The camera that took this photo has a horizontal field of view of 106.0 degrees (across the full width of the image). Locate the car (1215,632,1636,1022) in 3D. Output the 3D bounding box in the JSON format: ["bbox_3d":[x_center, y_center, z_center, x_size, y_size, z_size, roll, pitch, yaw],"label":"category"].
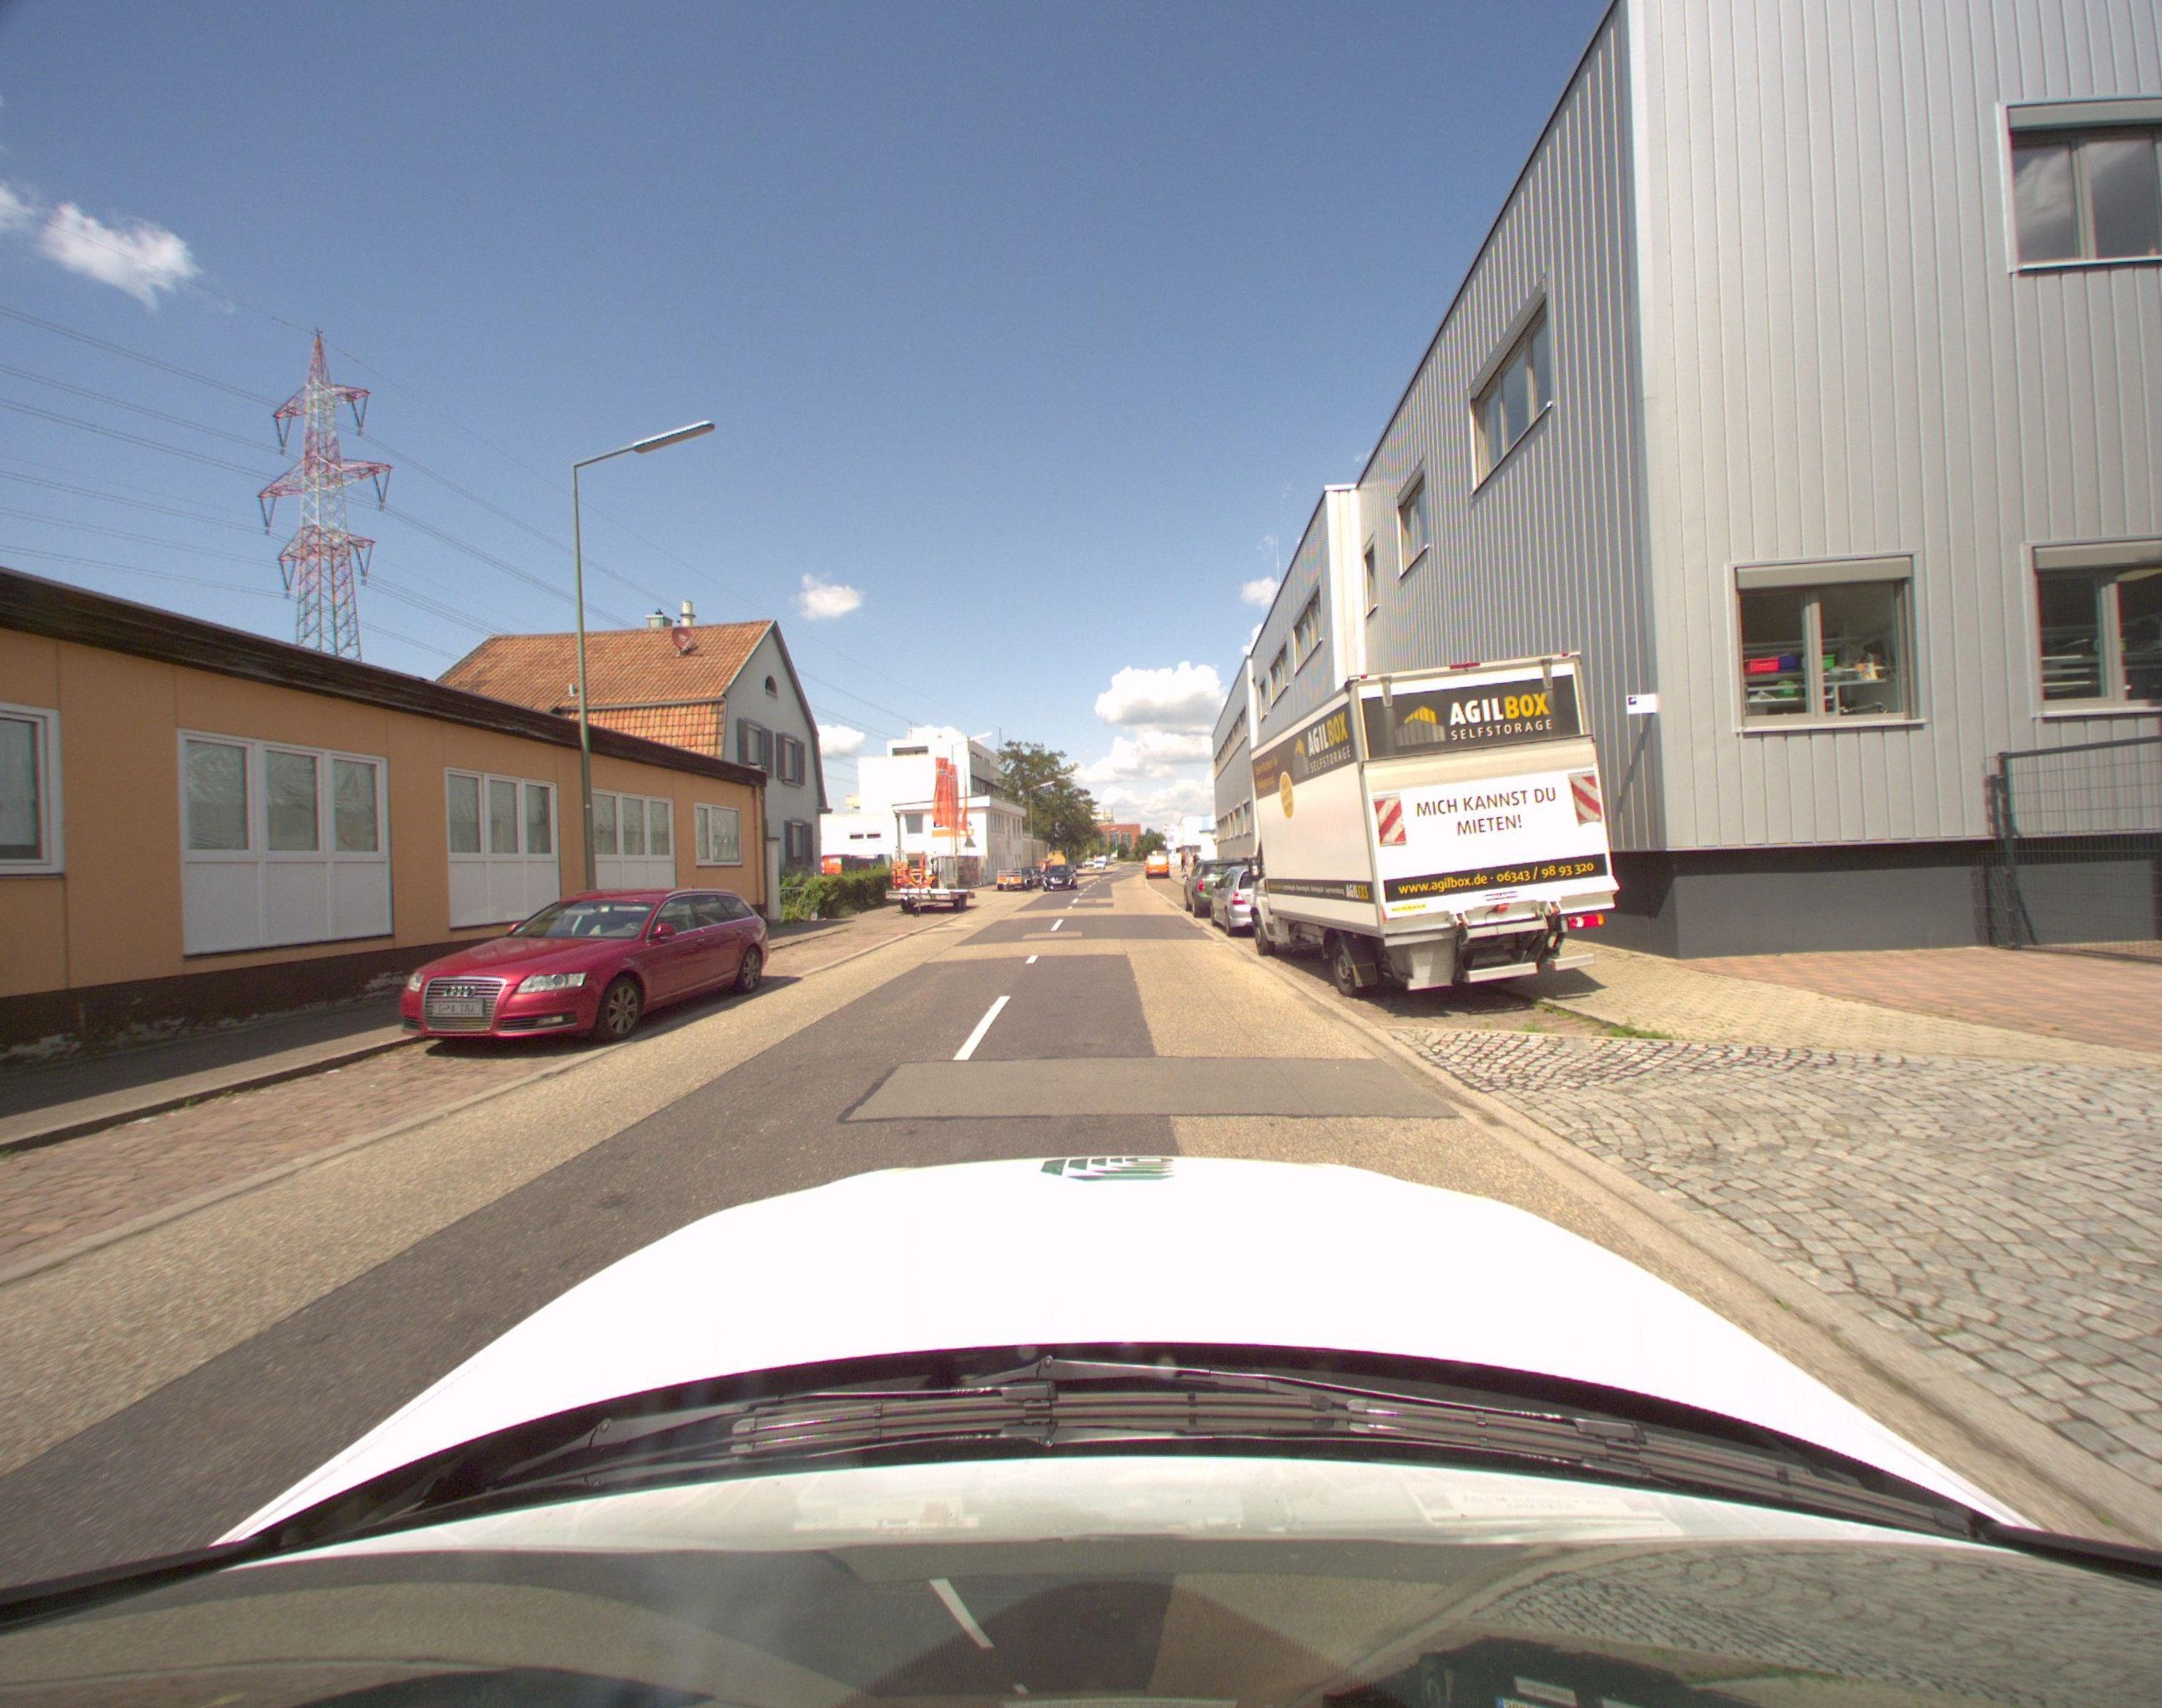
[{"bbox_3d":[3.661,-0.215,10.674,2.382,3.363,6.641,-4,-1,-1],"label":"car"}]

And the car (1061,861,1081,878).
[{"bbox_3d":[-1.053,1.677,87.978,1.913,1.794,4.004,0,-1,4],"label":"car"}]

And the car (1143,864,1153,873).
[{"bbox_3d":[13.862,2.962,168.075,1.931,1.742,4.381,-2,-1,4],"label":"car"}]

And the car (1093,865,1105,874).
[{"bbox_3d":[3.141,2.668,141.836,1.801,1.564,4.006,0,-1,5],"label":"car"}]

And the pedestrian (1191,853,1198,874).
[{"bbox_3d":[11.180,0.900,79.989,0.587,2.051,0.702,-1,-1,1],"label":"pedestrian"}]

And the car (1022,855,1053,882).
[{"bbox_3d":[-3.430,1.164,64.848,1.984,2.014,4.004,0,-1,4],"label":"car"}]

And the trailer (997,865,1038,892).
[{"bbox_3d":[-3.819,1.449,49.493,1.986,1.557,4.254,-1,-1,2],"label":"trailer"}]

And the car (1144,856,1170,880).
[{"bbox_3d":[6.038,1.118,65.171,1.931,1.742,4.381,-2,-1,4],"label":"car"}]

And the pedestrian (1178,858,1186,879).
[{"bbox_3d":[9.854,1.379,79.440,0.588,2.014,0.618,-1,-1,0],"label":"pedestrian"}]

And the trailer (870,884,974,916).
[{"bbox_3d":[-5.342,1.538,28.254,2.354,0.893,5.570,0,-1,2],"label":"trailer"}]

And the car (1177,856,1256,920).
[{"bbox_3d":[3.739,0.934,23.048,1.761,1.612,3.875,-2,-1,3],"label":"car"}]

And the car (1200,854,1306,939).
[{"bbox_3d":[3.616,0.854,17.785,1.561,1.574,4.071,-2,-1,2],"label":"car"}]

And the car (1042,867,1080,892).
[{"bbox_3d":[-1.091,1.394,45.423,1.911,1.285,3.615,-2,-1,1],"label":"car"}]

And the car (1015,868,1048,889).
[{"bbox_3d":[-3.456,1.724,58.023,1.817,1.442,4.004,0,-1,4],"label":"car"}]

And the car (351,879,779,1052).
[{"bbox_3d":[-5.355,1.033,9.434,1.755,1.447,4.743,0,-1,2],"label":"car"}]
